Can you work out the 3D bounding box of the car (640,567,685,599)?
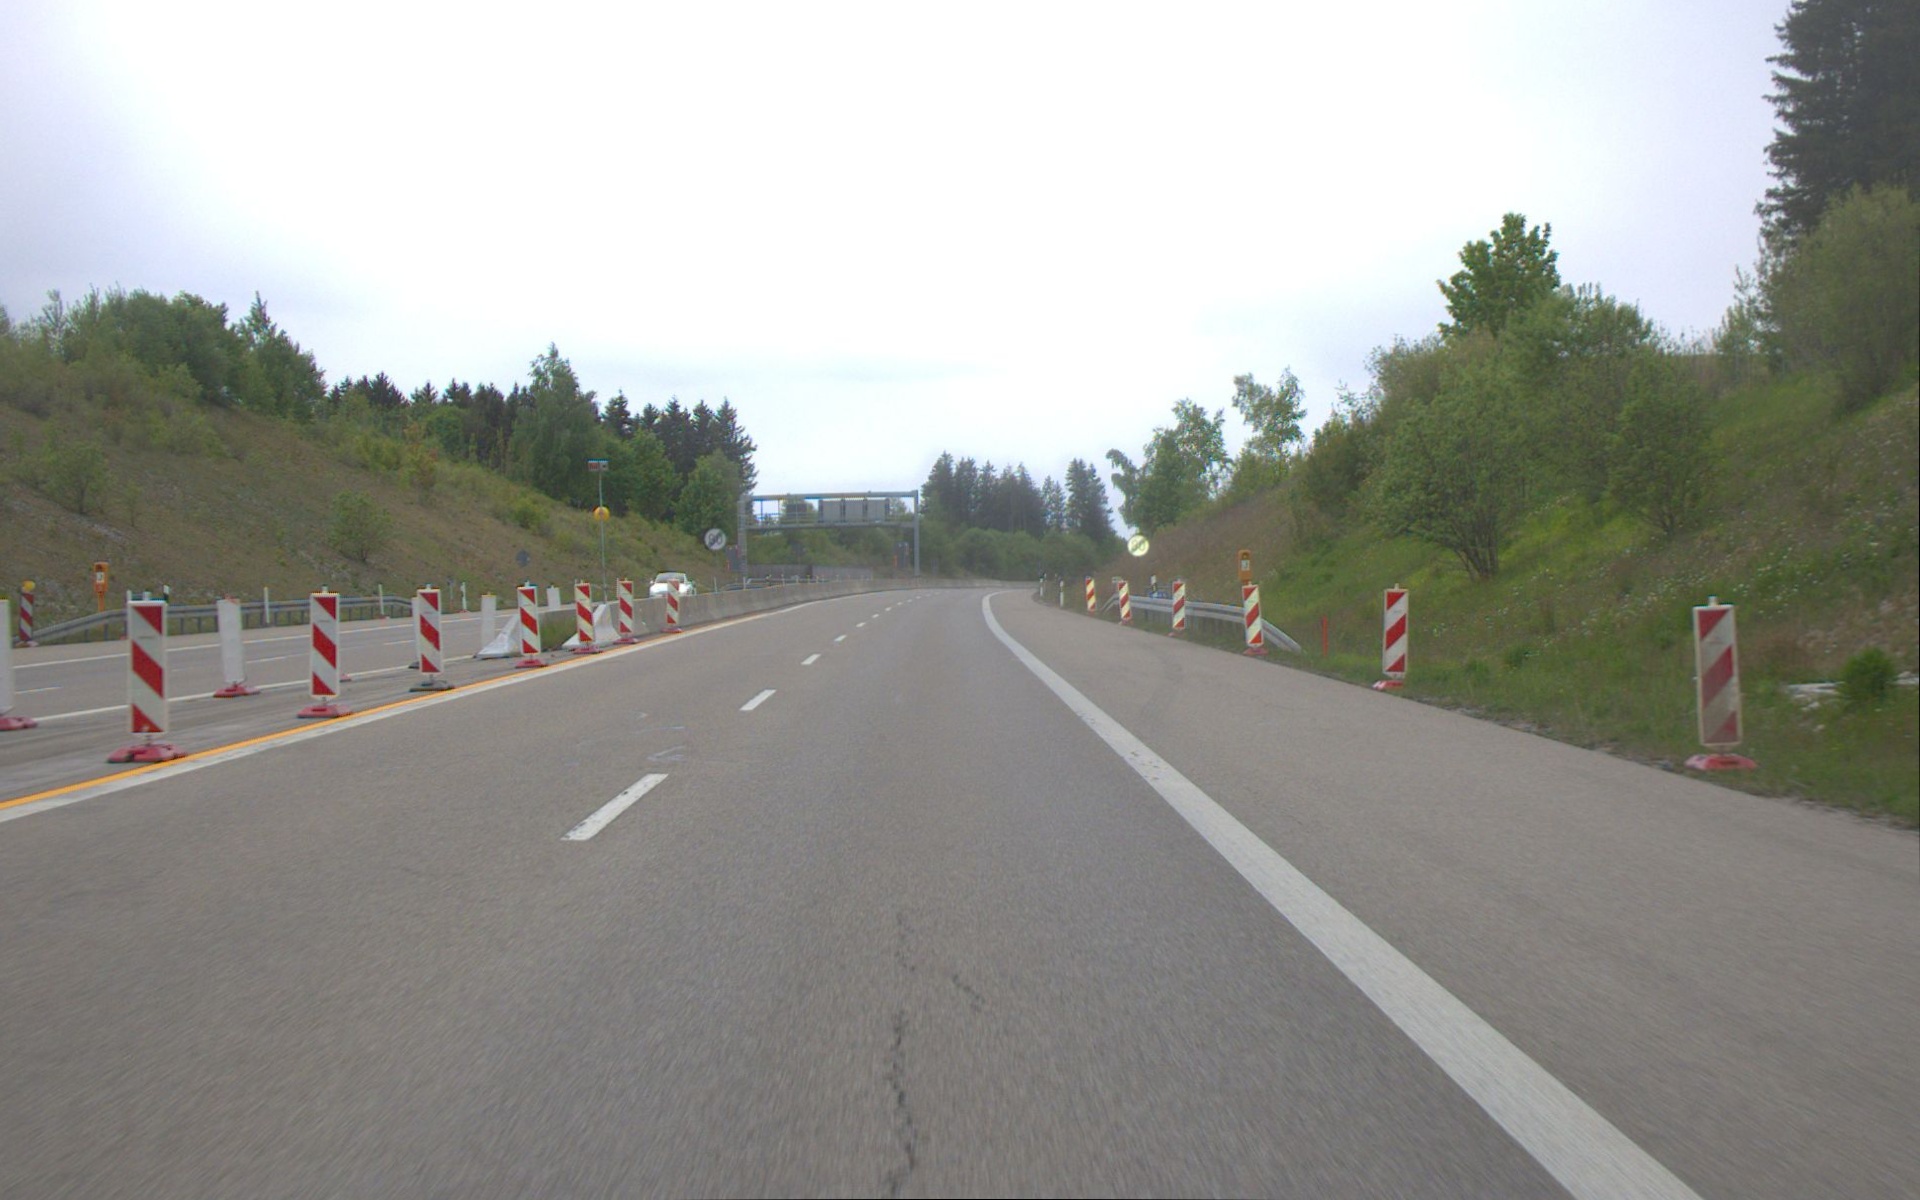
[{"bbox_3d":[-15.156,-0.857,175.449,1.914,1.595,4.167,-1,0,0],"label":"car"}]
